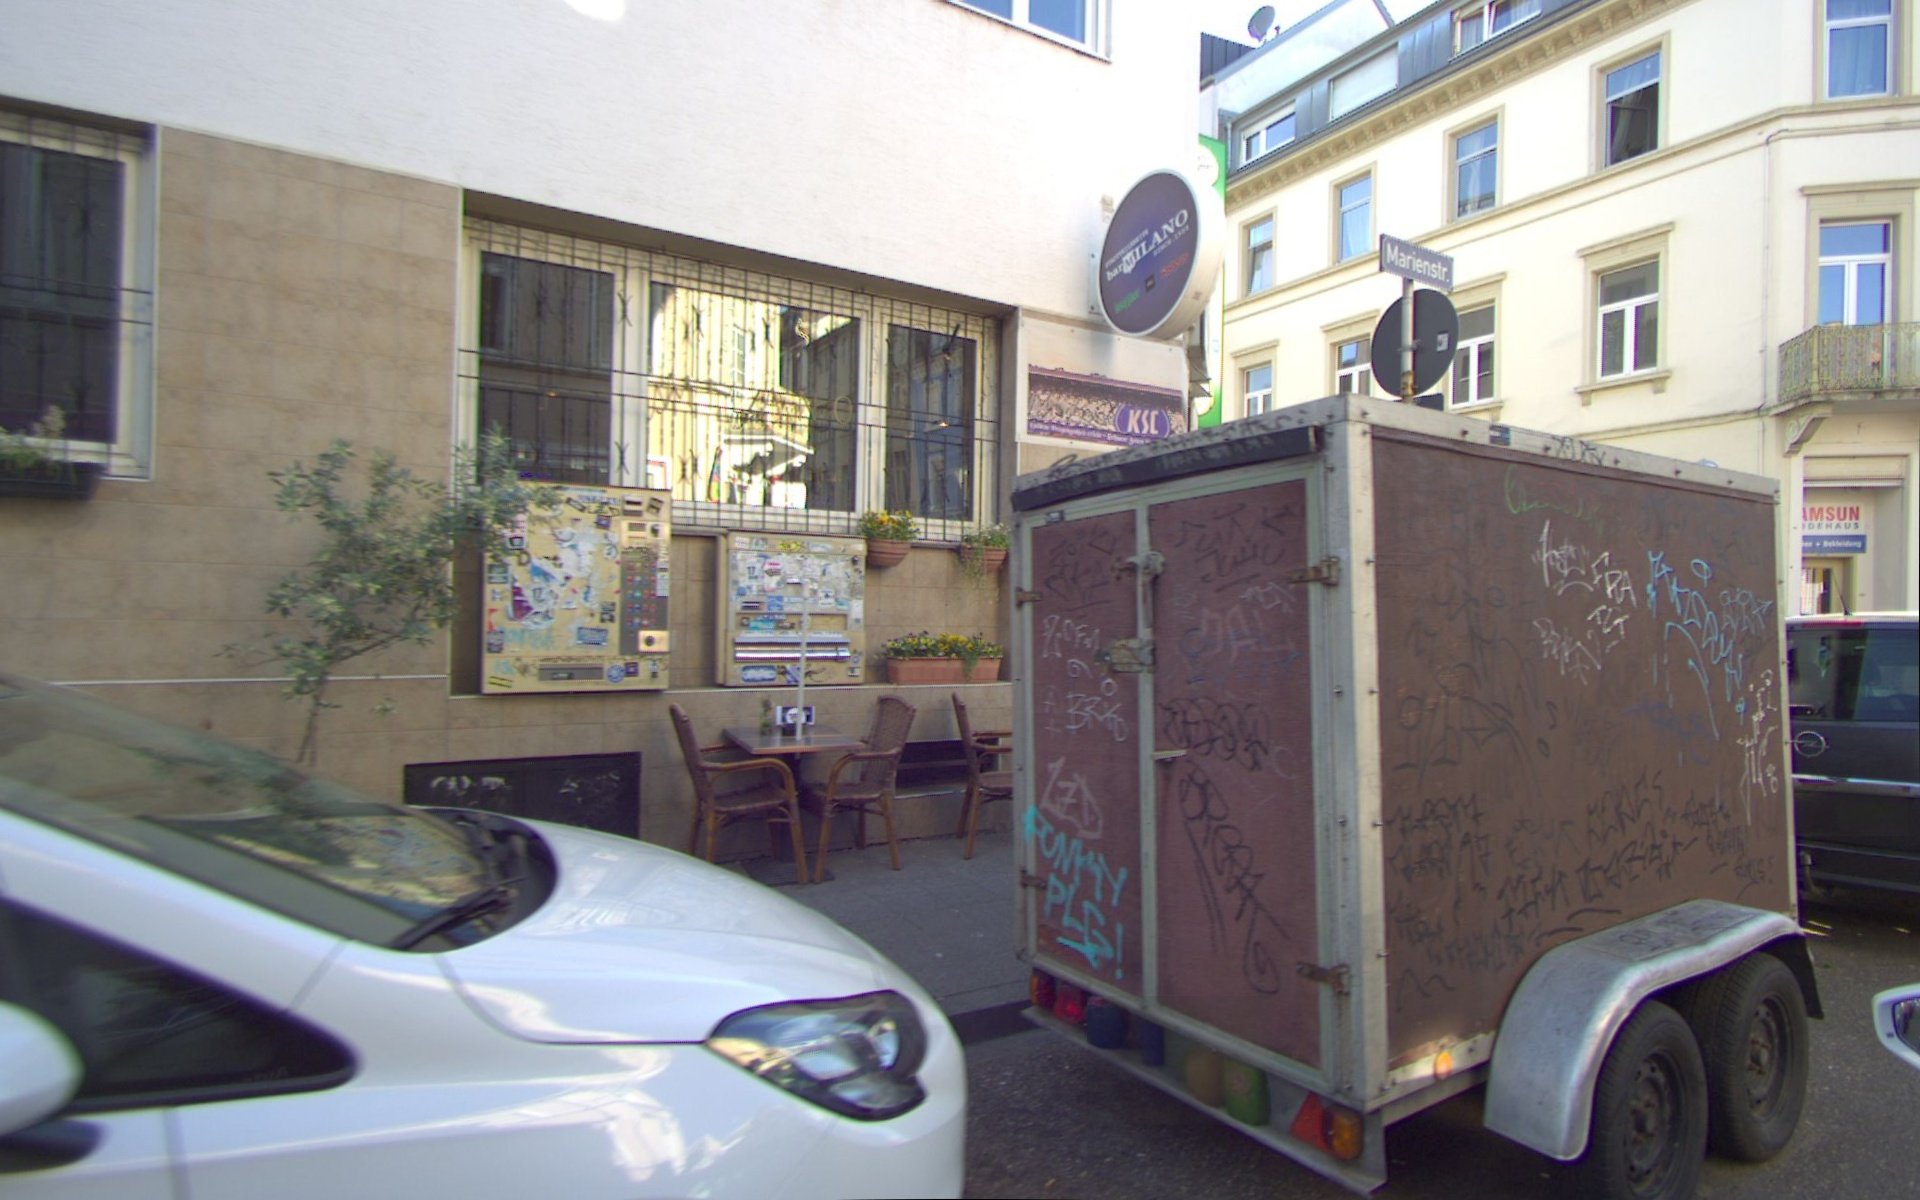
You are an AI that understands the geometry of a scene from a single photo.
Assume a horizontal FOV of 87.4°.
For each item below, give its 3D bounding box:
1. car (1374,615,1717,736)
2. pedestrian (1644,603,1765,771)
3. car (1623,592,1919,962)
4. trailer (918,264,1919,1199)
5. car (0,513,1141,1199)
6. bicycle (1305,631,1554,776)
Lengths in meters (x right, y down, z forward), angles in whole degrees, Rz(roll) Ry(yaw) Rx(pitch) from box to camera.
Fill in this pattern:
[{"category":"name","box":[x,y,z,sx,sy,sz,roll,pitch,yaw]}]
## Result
[{"category":"car","box":[8.539,1.004,15.030,1.739,1.475,4.117,1,0,-32]},{"category":"pedestrian","box":[8.243,0.928,11.132,0.855,1.725,0.690,-1,5,-30]},{"category":"car","box":[5.792,0.819,5.825,4.120,1.626,1.713,1,-2,-32]},{"category":"trailer","box":[2.118,0.522,3.679,4.317,2.088,1.652,2,-2,-33]},{"category":"car","box":[-1.716,0.713,1.517,3.774,1.575,1.668,2,-2,-31]},{"category":"bicycle","box":[5.160,1.071,11.258,0.917,1.377,2.465,1,-1,-29]}]
